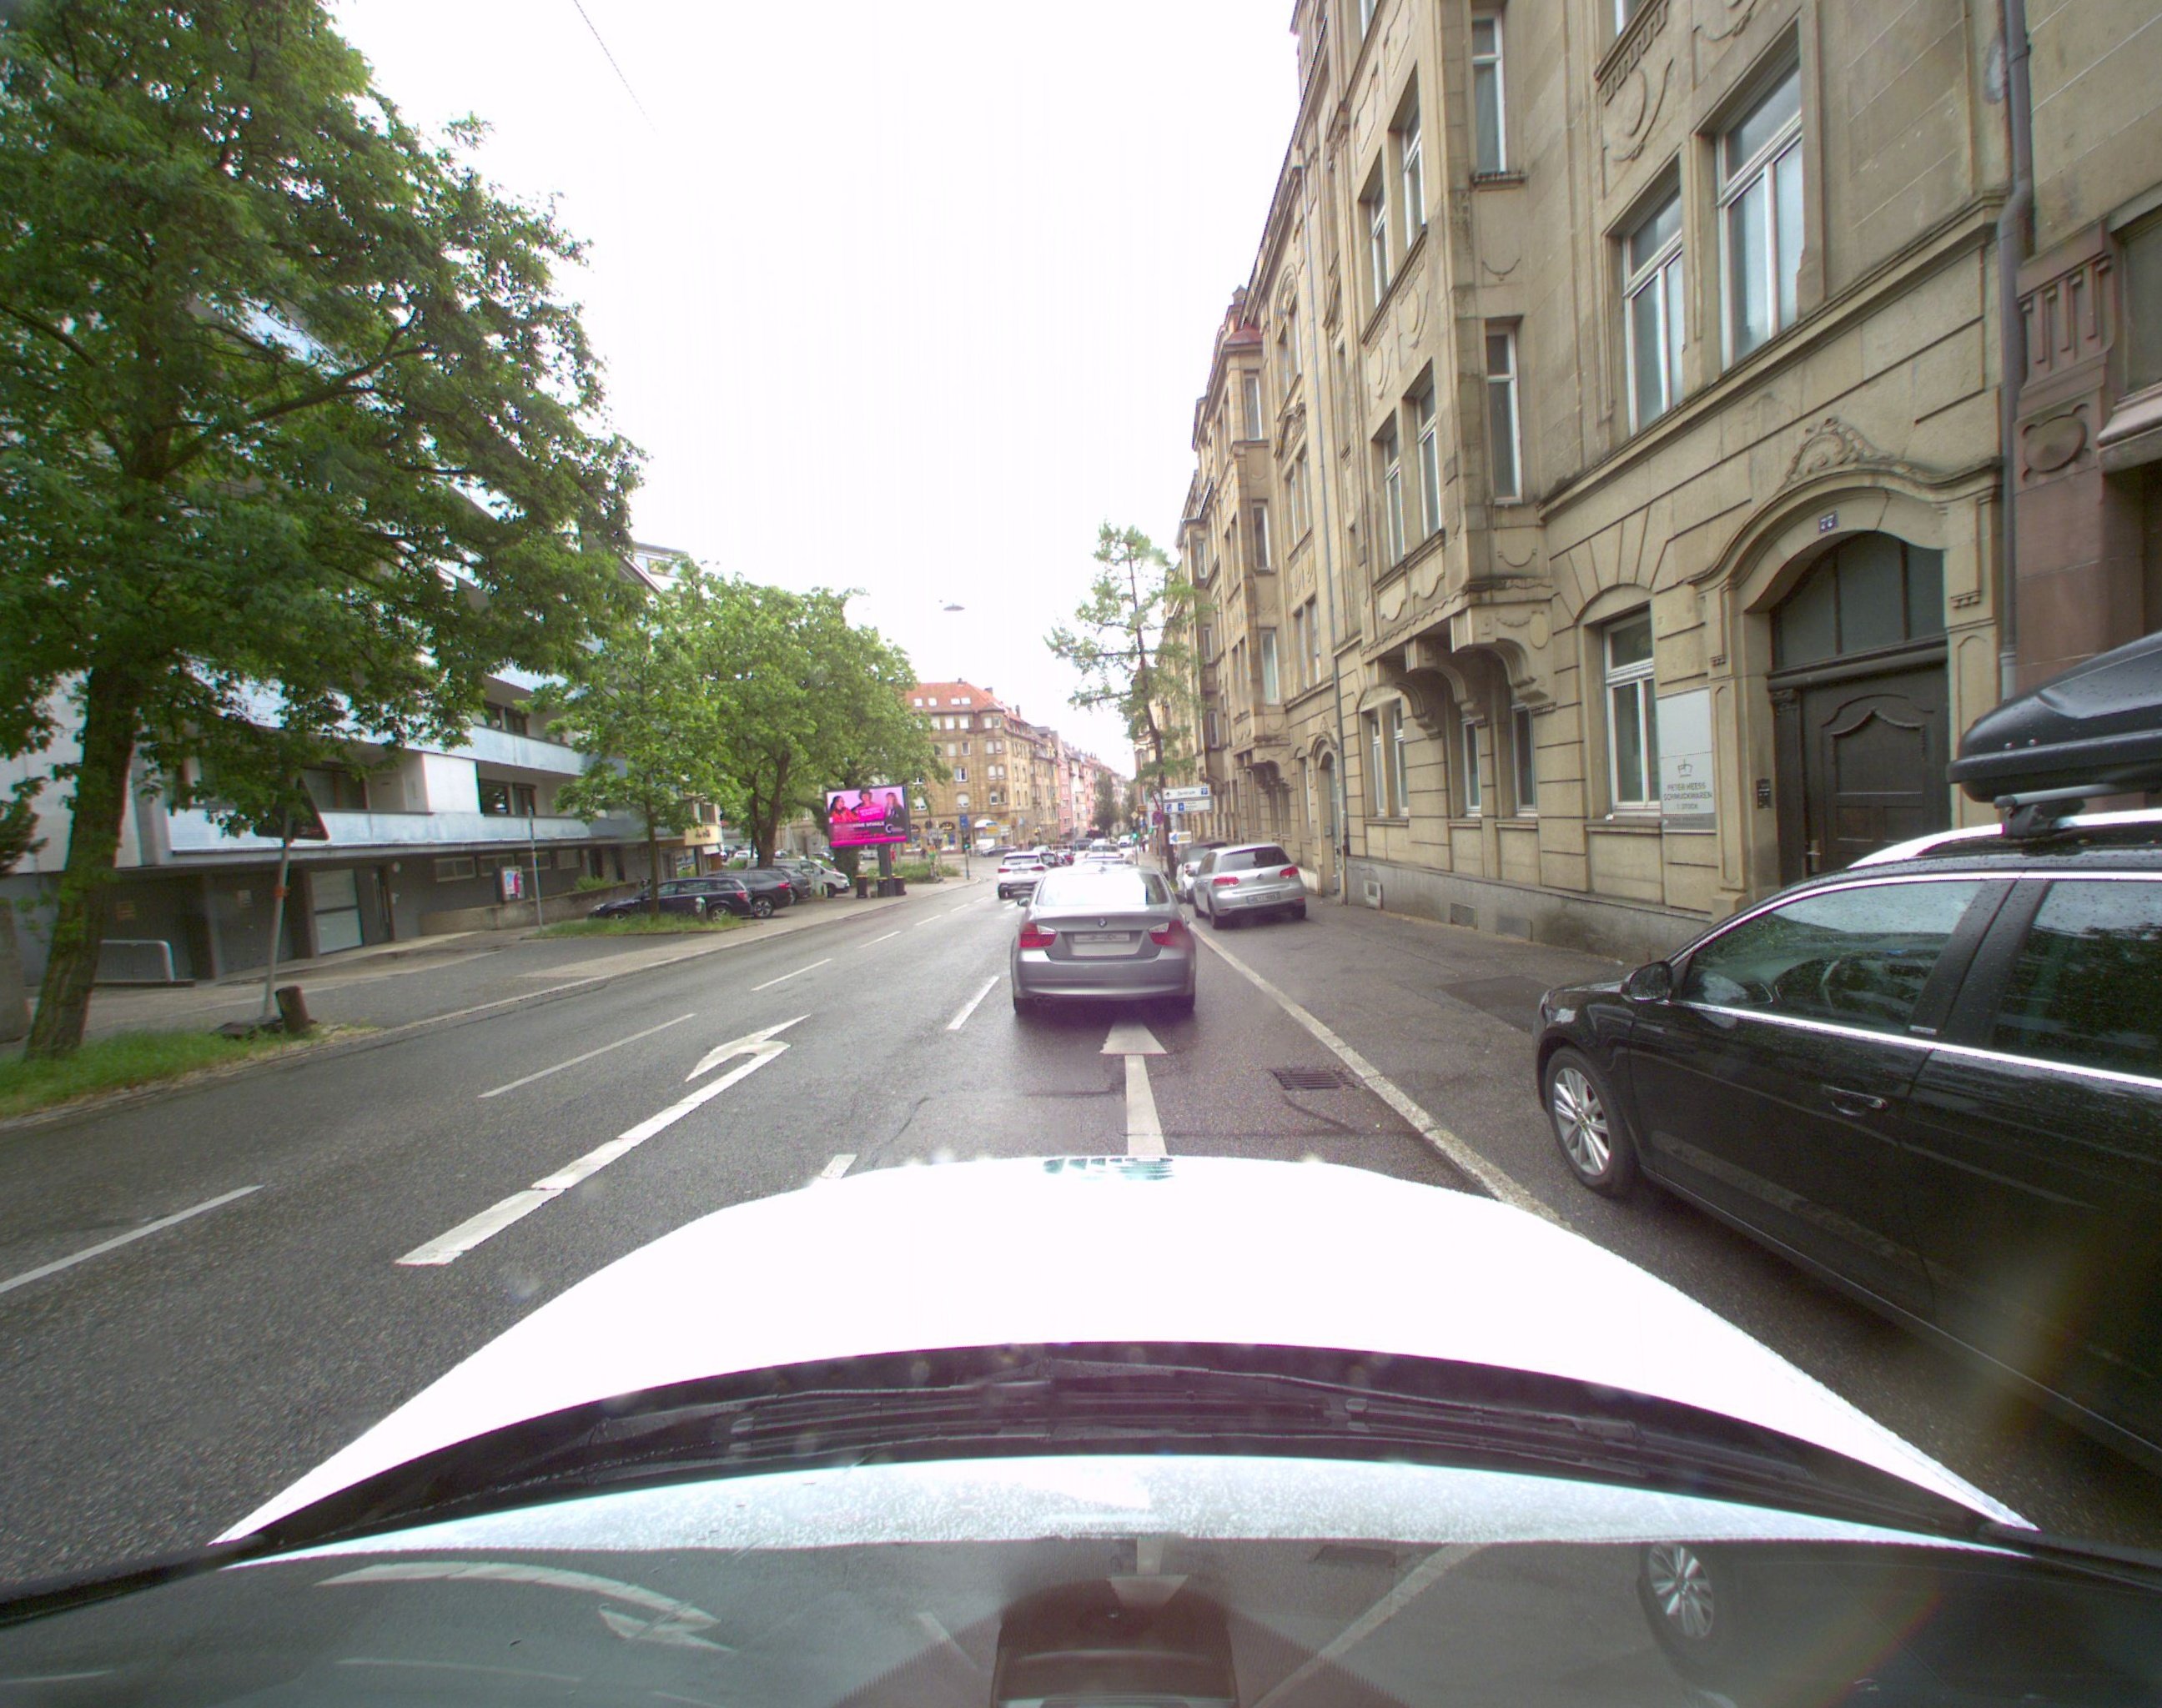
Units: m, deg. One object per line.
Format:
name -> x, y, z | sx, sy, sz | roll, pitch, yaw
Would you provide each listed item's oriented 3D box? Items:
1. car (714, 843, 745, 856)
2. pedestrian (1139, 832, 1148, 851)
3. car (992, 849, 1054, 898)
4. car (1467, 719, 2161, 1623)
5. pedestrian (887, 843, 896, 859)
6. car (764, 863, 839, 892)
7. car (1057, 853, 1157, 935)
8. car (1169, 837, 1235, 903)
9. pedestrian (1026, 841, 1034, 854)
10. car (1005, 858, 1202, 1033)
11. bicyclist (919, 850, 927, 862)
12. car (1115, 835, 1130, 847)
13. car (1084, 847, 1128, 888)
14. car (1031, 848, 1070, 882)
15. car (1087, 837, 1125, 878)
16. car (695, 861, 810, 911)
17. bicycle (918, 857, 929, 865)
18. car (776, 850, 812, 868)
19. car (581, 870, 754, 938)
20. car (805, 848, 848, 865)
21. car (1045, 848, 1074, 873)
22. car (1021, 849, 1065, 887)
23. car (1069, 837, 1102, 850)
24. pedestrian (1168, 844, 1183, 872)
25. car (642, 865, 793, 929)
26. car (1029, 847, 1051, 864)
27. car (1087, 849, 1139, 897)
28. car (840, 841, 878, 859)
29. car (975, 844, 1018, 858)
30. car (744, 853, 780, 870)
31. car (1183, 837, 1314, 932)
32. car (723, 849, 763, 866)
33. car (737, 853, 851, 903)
car -> -47.054, -0.624, 109.044 | 3.949, 1.689, 1.738 | -1, -1, 29
pedestrian -> 6.387, -1.251, 83.501 | 0.740, 1.910, 0.659 | -3, 0, 1
car -> -2.090, 0.666, 30.380 | 1.861, 1.625, 4.001 | -2, 0, 1
car -> 2.790, 0.491, 1.951 | 1.753, 1.651, 4.101 | -7, 0, 2
pedestrian -> -19.499, -0.320, 83.803 | 0.531, 1.577, 0.724 | -3, 0, 25
car -> -16.260, 1.341, 47.503 | 3.985, 1.450, 1.758 | -3, 0, -19
car -> 0.564, 0.725, 16.664 | 1.752, 1.383, 4.003 | -2, 0, 3
car -> 3.312, 0.410, 22.700 | 1.295, 1.543, 2.977 | -7, 0, 1
pedestrian -> -6.345, -0.849, 101.332 | 0.727, 1.577, 0.530 | -3, 0, 10
car -> 0.283, 0.782, 8.683 | 1.617, 1.383, 3.618 | -2, 0, 3
bicyclist -> -16.831, 0.181, 86.960 | 0.565, 1.273, 0.692 | -1, -1, 14
car -> 6.193, -1.912, 120.677 | 1.983, 1.578, 4.008 | 0, 0, 7
car -> 1.060, 0.534, 35.356 | 1.753, 1.567, 4.001 | -2, 1, 1
car -> -1.639, 0.558, 45.096 | 1.752, 1.707, 4.003 | -2, 0, 3
car -> 1.388, 0.171, 44.926 | 1.986, 2.106, 4.002 | -2, 0, 2
car -> -13.922, 1.324, 34.777 | 4.370, 1.784, 1.927 | -3, 0, -19
bicycle -> -16.816, 0.751, 86.972 | 0.569, 0.858, 1.528 | -1, -1, 15
car -> -36.480, 0.600, 103.633 | 4.238, 2.101, 2.013 | 0, 2, 30
car -> -12.282, 1.444, 24.546 | 4.373, 1.574, 1.930 | -4, 0, -21
car -> -27.287, 0.287, 87.280 | 4.194, 1.726, 2.013 | -1, 2, 32
car -> -1.560, 0.446, 60.902 | 1.752, 1.707, 4.003 | -2, 0, 3
car -> -1.829, 0.651, 40.514 | 1.752, 1.707, 4.003 | -2, 0, 3
car -> 0.782, -1.664, 130.018 | 5.158, 2.014, 2.699 | 0, -1, 1
pedestrian -> 5.263, 0.223, 45.312 | 0.629, 1.508, 0.693 | -7, 0, 1
car -> -12.033, 1.382, 27.290 | 4.382, 1.672, 1.842 | -4, 0, -21
car -> -3.833, 0.101, 76.730 | 1.709, 1.450, 3.743 | -3, 0, 1
car -> 1.079, 0.570, 26.984 | 1.588, 1.464, 4.003 | 0, 0, 3
car -> -26.583, -0.472, 97.479 | 4.238, 2.101, 2.013 | 0, 2, 30
car -> -9.838, -0.308, 94.843 | 4.664, 1.578, 1.982 | 0, -1, -27
car -> -41.508, 0.913, 105.941 | 4.238, 2.101, 2.013 | 0, 2, 30
car -> 3.200, 0.529, 16.349 | 1.753, 1.451, 4.001 | -7, 0, 1
car -> -39.133, 0.426, 94.286 | 4.195, 1.726, 2.013 | -2, 3, 31
car -> -14.030, 1.159, 40.015 | 5.076, 2.105, 1.979 | -3, 0, -19
